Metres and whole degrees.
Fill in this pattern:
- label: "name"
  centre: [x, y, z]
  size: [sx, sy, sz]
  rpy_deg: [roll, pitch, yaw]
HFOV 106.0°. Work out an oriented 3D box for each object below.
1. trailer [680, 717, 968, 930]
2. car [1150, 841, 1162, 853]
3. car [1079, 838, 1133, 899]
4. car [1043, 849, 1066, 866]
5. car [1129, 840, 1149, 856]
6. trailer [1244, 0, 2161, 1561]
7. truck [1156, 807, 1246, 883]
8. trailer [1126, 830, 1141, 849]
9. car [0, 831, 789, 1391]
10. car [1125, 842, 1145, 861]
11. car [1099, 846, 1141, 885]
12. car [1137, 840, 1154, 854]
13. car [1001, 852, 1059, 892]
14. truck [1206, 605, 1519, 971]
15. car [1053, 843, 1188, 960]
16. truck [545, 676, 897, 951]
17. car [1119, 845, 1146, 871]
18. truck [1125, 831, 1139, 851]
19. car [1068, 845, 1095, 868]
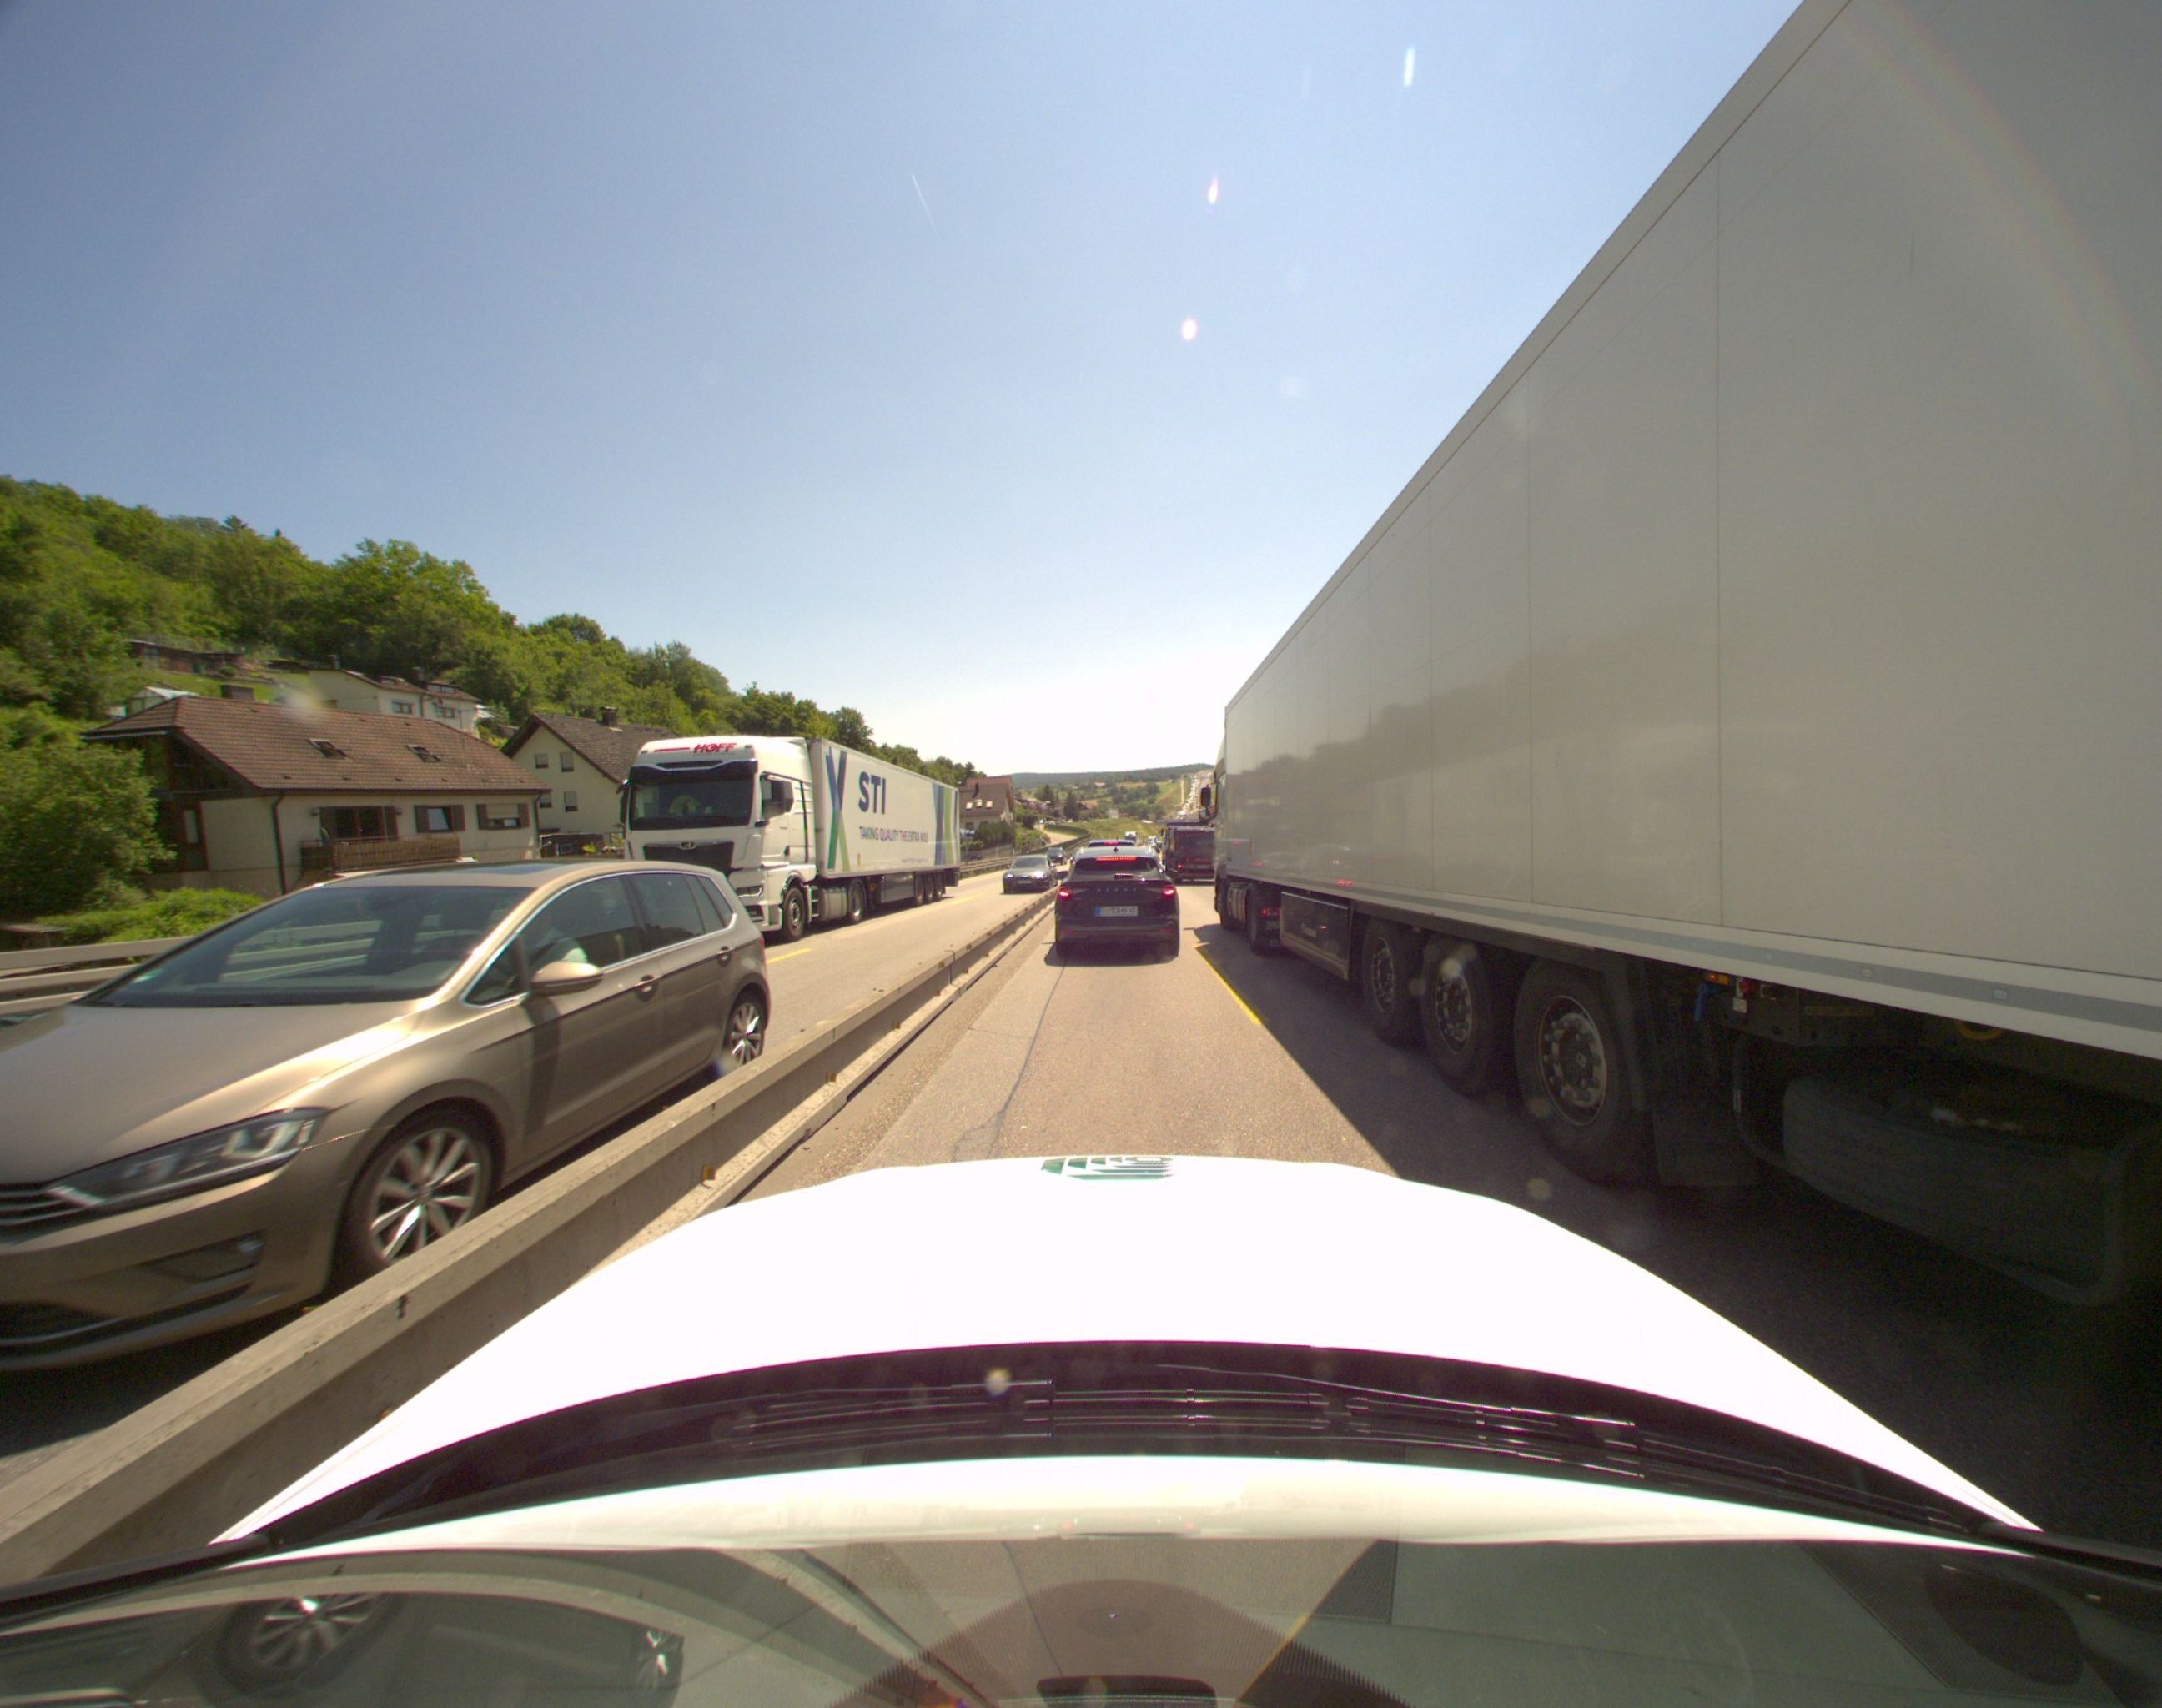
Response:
- label: "trailer"
  centre: [-6.292, -0.591, 23.814]
  size: [3.238, 4.378, 14.069]
  rpy_deg: [0, 0, 3]
- label: "car"
  centre: [11.495, -1.017, 124.129]
  size: [1.691, 1.727, 3.844]
  rpy_deg: [0, 0, 8]
- label: "car"
  centre: [0.781, 0.418, 27.700]
  size: [1.702, 1.881, 3.999]
  rpy_deg: [0, 1, -1]
- label: "car"
  centre: [-2.291, 0.323, 71.305]
  size: [1.699, 1.465, 3.683]
  rpy_deg: [0, 0, 2]
- label: "car"
  centre: [5.892, -0.623, 82.832]
  size: [1.985, 1.585, 3.840]
  rpy_deg: [0, 0, 4]
- label: "trailer"
  centre: [3.430, -0.770, 6.330]
  size: [2.521, 4.127, 11.555]
  rpy_deg: [0, 0, 3]
- label: "truck"
  centre: [5.694, -0.347, 41.002]
  size: [3.182, 3.191, 12.817]
  rpy_deg: [-1, 0, 3]
- label: "trailer"
  centre: [11.828, -3.342, 182.718]
  size: [2.742, 4.070, 8.025]
  rpy_deg: [0, 1, 8]
- label: "car"
  centre: [-3.232, 0.751, 4.316]
  size: [1.839, 1.574, 4.000]
  rpy_deg: [-1, 0, 1]
- label: "car"
  centre: [4.736, -0.246, 71.585]
  size: [1.700, 1.622, 4.004]
  rpy_deg: [0, 1, 3]
- label: "car"
  centre: [1.709, 0.458, 37.007]
  size: [1.702, 1.622, 3.999]
  rpy_deg: [0, 1, -1]
- label: "car"
  centre: [7.839, -0.853, 99.623]
  size: [1.985, 1.585, 3.840]
  rpy_deg: [0, 0, 4]
- label: "car"
  centre: [-1.950, 0.679, 32.587]
  size: [1.783, 1.453, 4.638]
  rpy_deg: [-2, 0, 3]
- label: "truck"
  centre: [3.727, -0.702, 13.111]
  size: [2.503, 4.025, 8.242]
  rpy_deg: [0, 0, 3]
- label: "car"
  centre: [0.520, 0.653, 13.055]
  size: [1.837, 1.586, 3.906]
  rpy_deg: [0, 0, -1]
- label: "truck"
  centre: [-6.704, -0.612, 17.139]
  size: [3.289, 4.362, 8.308]
  rpy_deg: [0, 0, 3]
- label: "car"
  centre: [3.398, 0.259, 54.033]
  size: [1.700, 1.622, 4.004]
  rpy_deg: [0, 1, 3]
- label: "truck"
  centre: [11.152, -2.868, 177.776]
  size: [2.737, 4.283, 4.968]
  rpy_deg: [0, 1, 8]
- label: "car"
  centre: [0.062, 0.189, 60.683]
  size: [1.812, 1.586, 4.162]
  rpy_deg: [1, 0, 3]
